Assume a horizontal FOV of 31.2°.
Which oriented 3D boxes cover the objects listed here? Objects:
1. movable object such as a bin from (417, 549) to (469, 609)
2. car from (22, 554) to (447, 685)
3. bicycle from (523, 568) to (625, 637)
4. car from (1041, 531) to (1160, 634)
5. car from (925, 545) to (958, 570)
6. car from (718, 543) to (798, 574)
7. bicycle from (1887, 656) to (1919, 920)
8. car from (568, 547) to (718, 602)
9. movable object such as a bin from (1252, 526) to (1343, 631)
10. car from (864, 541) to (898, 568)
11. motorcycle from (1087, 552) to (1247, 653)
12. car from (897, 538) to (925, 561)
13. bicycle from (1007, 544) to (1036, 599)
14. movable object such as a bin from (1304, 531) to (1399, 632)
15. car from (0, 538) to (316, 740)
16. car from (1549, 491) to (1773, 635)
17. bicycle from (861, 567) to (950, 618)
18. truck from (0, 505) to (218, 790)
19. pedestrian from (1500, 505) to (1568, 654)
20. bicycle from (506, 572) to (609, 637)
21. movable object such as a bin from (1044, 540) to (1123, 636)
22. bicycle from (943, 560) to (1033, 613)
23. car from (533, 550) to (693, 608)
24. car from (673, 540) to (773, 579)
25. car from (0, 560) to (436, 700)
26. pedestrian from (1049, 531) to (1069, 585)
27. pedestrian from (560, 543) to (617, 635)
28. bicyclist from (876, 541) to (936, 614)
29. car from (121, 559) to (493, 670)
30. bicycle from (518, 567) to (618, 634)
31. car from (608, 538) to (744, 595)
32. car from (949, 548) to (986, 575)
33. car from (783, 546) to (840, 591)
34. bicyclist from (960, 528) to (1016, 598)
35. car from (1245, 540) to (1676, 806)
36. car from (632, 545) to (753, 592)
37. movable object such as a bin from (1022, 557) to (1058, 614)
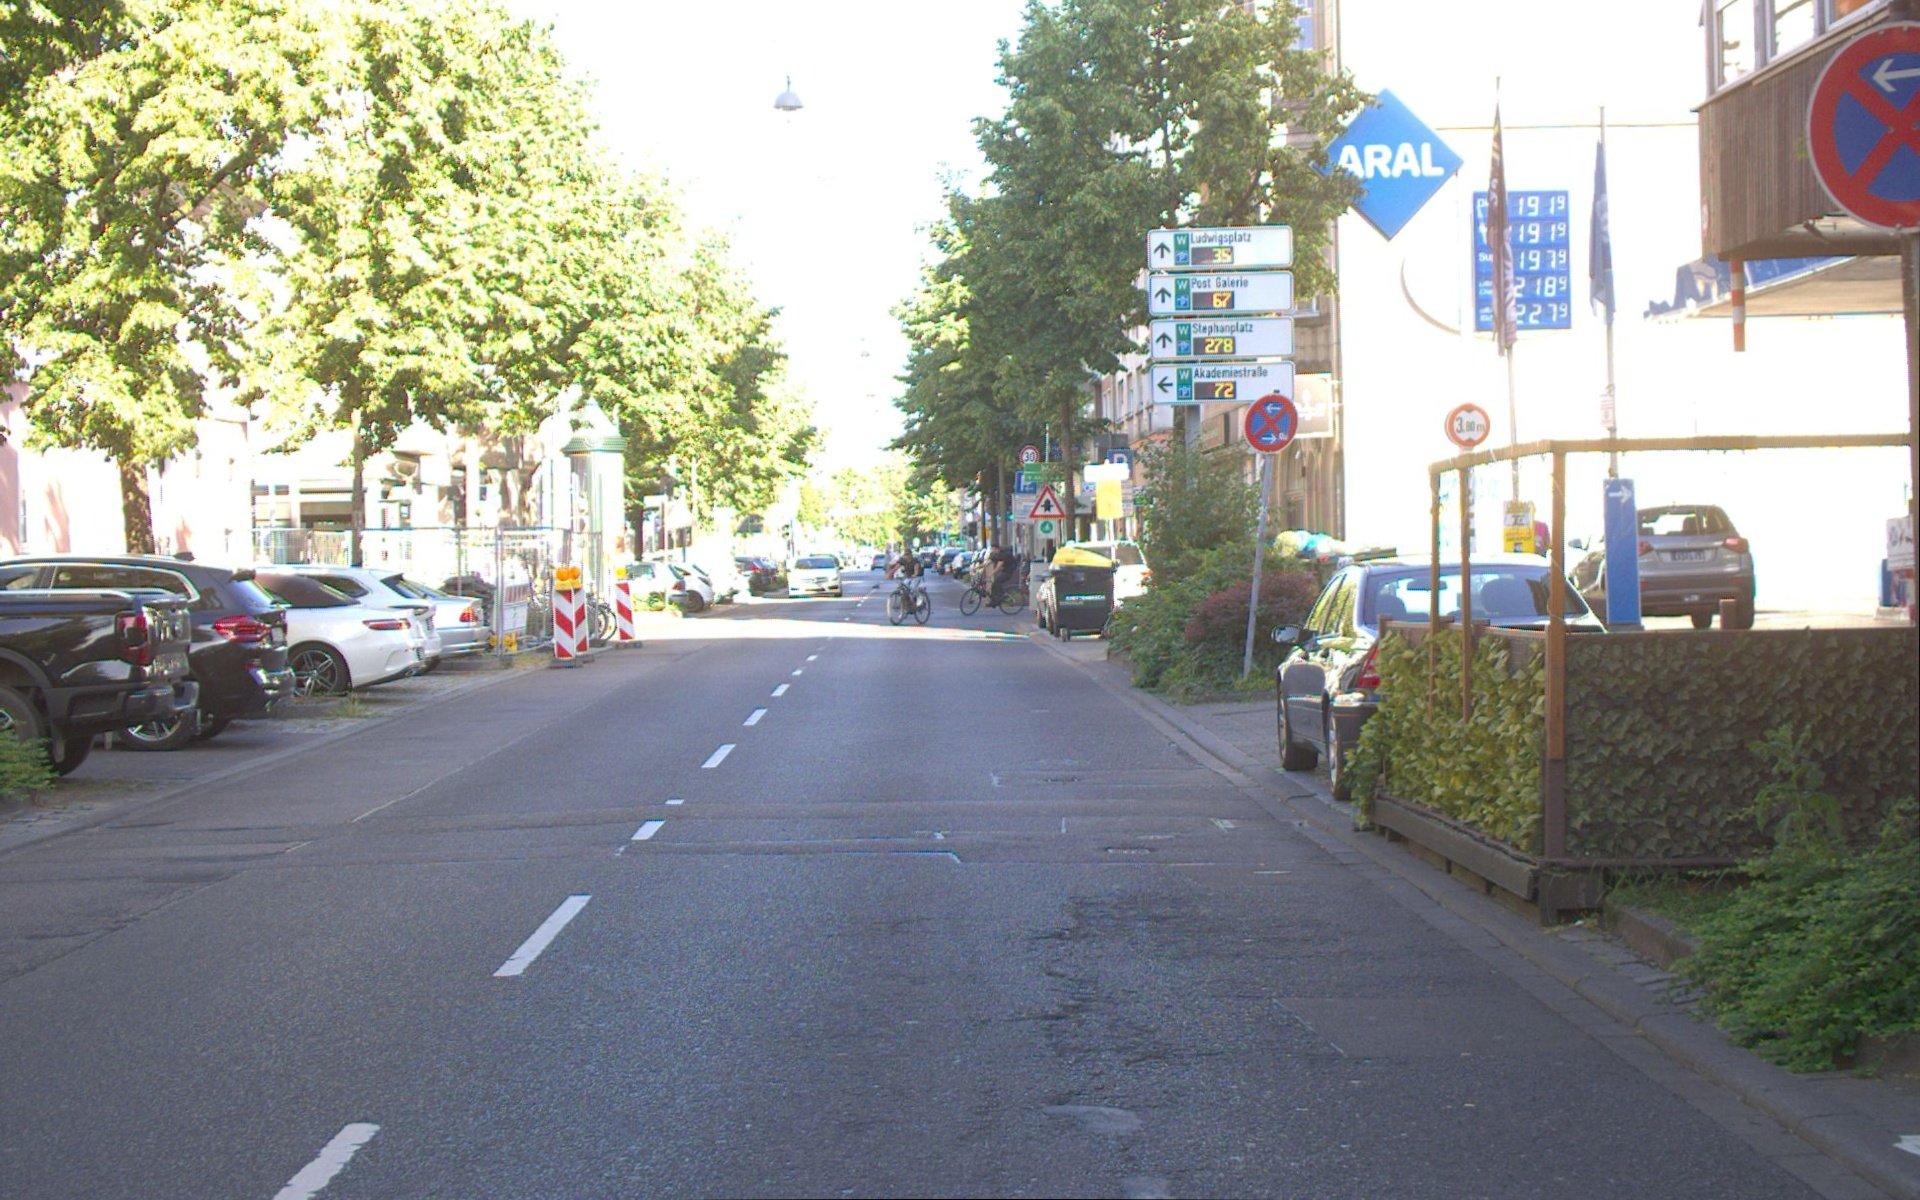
[{"bbox_3d":[-13.113,-0.535,87.215,1.140,1.480,1.236,-1,1,-3],"label":"movable object such as a bin"},{"bbox_3d":[-8.489,0.208,40.528,4.680,1.460,1.808,-1,1,-3],"label":"car"},{"bbox_3d":[-7.141,0.039,63.537,1.854,1.248,0.600,0,1,-8],"label":"bicycle"},{"bbox_3d":[2.481,-0.334,61.818,1.822,1.673,4.601,-4,1,0],"label":"car"},{"bbox_3d":[-1.164,-2.645,214.241,1.993,1.503,4.000,-1,0,-1],"label":"car"},{"bbox_3d":[-10.333,-2.123,176.090,3.986,1.494,2.000,-1,1,-2],"label":"car"},{"bbox_3d":[3.367,0.707,9.514,0.607,1.116,2.056,-8,2,-10],"label":"bicycle"},{"bbox_3d":[-8.782,-0.716,95.461,3.986,1.385,2.000,-1,1,-2],"label":"car"},{"bbox_3d":[5.372,-0.348,54.894,1.205,1.622,1.498,-2,1,-2],"label":"movable object such as a bin"},{"bbox_3d":[-4.498,-2.595,194.452,1.822,1.386,4.301,-4,1,-2],"label":"car"},{"bbox_3d":[2.835,0.025,47.169,1.977,1.325,0.912,-2,1,-13],"label":"motorcycle"},{"bbox_3d":[-3.154,-3.225,220.922,1.792,1.406,4.000,-1,1,-1],"label":"car"},{"bbox_3d":[1.685,-0.781,93.660,0.560,1.436,1.628,-7,1,-1],"label":"bicycle"},{"bbox_3d":[6.097,-0.294,53.588,1.270,1.525,1.177,-2,1,-2],"label":"movable object such as a bin"},{"bbox_3d":[-8.120,0.329,29.878,4.680,1.687,1.808,0,1,1],"label":"car"},{"bbox_3d":[8.646,-0.469,42.736,1.901,1.642,4.293,-2,1,1],"label":"car"},{"bbox_3d":[-1.173,-0.172,74.331,0.768,1.055,1.951,0,1,42],"label":"bicycle"},{"bbox_3d":[-8.087,0.367,24.600,5.084,1.931,2.000,-2,1,-1],"label":"truck"},{"bbox_3d":[7.210,-0.263,43.197,0.707,1.843,0.688,-2,1,3],"label":"pedestrian"},{"bbox_3d":[-7.361,0.084,62.863,1.854,1.166,0.600,0,1,-8],"label":"bicycle"},{"bbox_3d":[2.065,-0.211,57.499,1.143,1.556,1.459,-2,1,8],"label":"movable object such as a bin"},{"bbox_3d":[0.683,-0.332,83.647,2.028,1.215,0.721,-2,1,-18],"label":"bicycle"},{"bbox_3d":[-9.025,-0.555,89.673,3.986,1.385,2.000,-1,1,-2],"label":"car"},{"bbox_3d":[-9.759,-1.690,141.901,3.986,1.494,2.000,-1,1,-2],"label":"car"},{"bbox_3d":[-8.232,0.315,37.931,4.680,1.460,1.808,-1,1,-3],"label":"car"},{"bbox_3d":[3.013,-1.288,104.972,0.547,1.644,0.664,-1,1,0],"label":"pedestrian"},{"bbox_3d":[-6.938,-0.212,64.211,0.792,1.702,0.767,-1,1,-34],"label":"pedestrian"},{"bbox_3d":[-1.160,-0.494,74.324,0.768,1.555,1.038,0,1,42],"label":"bicyclist"},{"bbox_3d":[-8.656,0.172,45.895,4.680,1.407,1.808,-1,1,-3],"label":"car"},{"bbox_3d":[-7.368,0.001,64.549,1.854,1.248,0.600,0,1,-8],"label":"bicycle"},{"bbox_3d":[-8.934,-1.063,108.370,3.987,1.688,2.000,-1,1,4],"label":"car"},{"bbox_3d":[0.430,-2.173,194.694,1.993,1.503,4.000,-1,0,-1],"label":"car"},{"bbox_3d":[-5.110,-1.101,118.744,1.802,1.430,4.410,-4,1,-2],"label":"car"},{"bbox_3d":[0.677,-0.900,83.642,1.153,1.687,0.721,-2,1,-18],"label":"bicyclist"},{"bbox_3d":[3.014,0.375,21.706,1.901,1.407,4.647,-3,1,-1],"label":"car"},{"bbox_3d":[-9.112,-1.083,117.188,3.986,1.494,2.000,-1,1,-2],"label":"car"},{"bbox_3d":[1.757,-0.322,75.453,0.705,1.218,0.681,-1,1,-3],"label":"movable object such as a bin"}]
